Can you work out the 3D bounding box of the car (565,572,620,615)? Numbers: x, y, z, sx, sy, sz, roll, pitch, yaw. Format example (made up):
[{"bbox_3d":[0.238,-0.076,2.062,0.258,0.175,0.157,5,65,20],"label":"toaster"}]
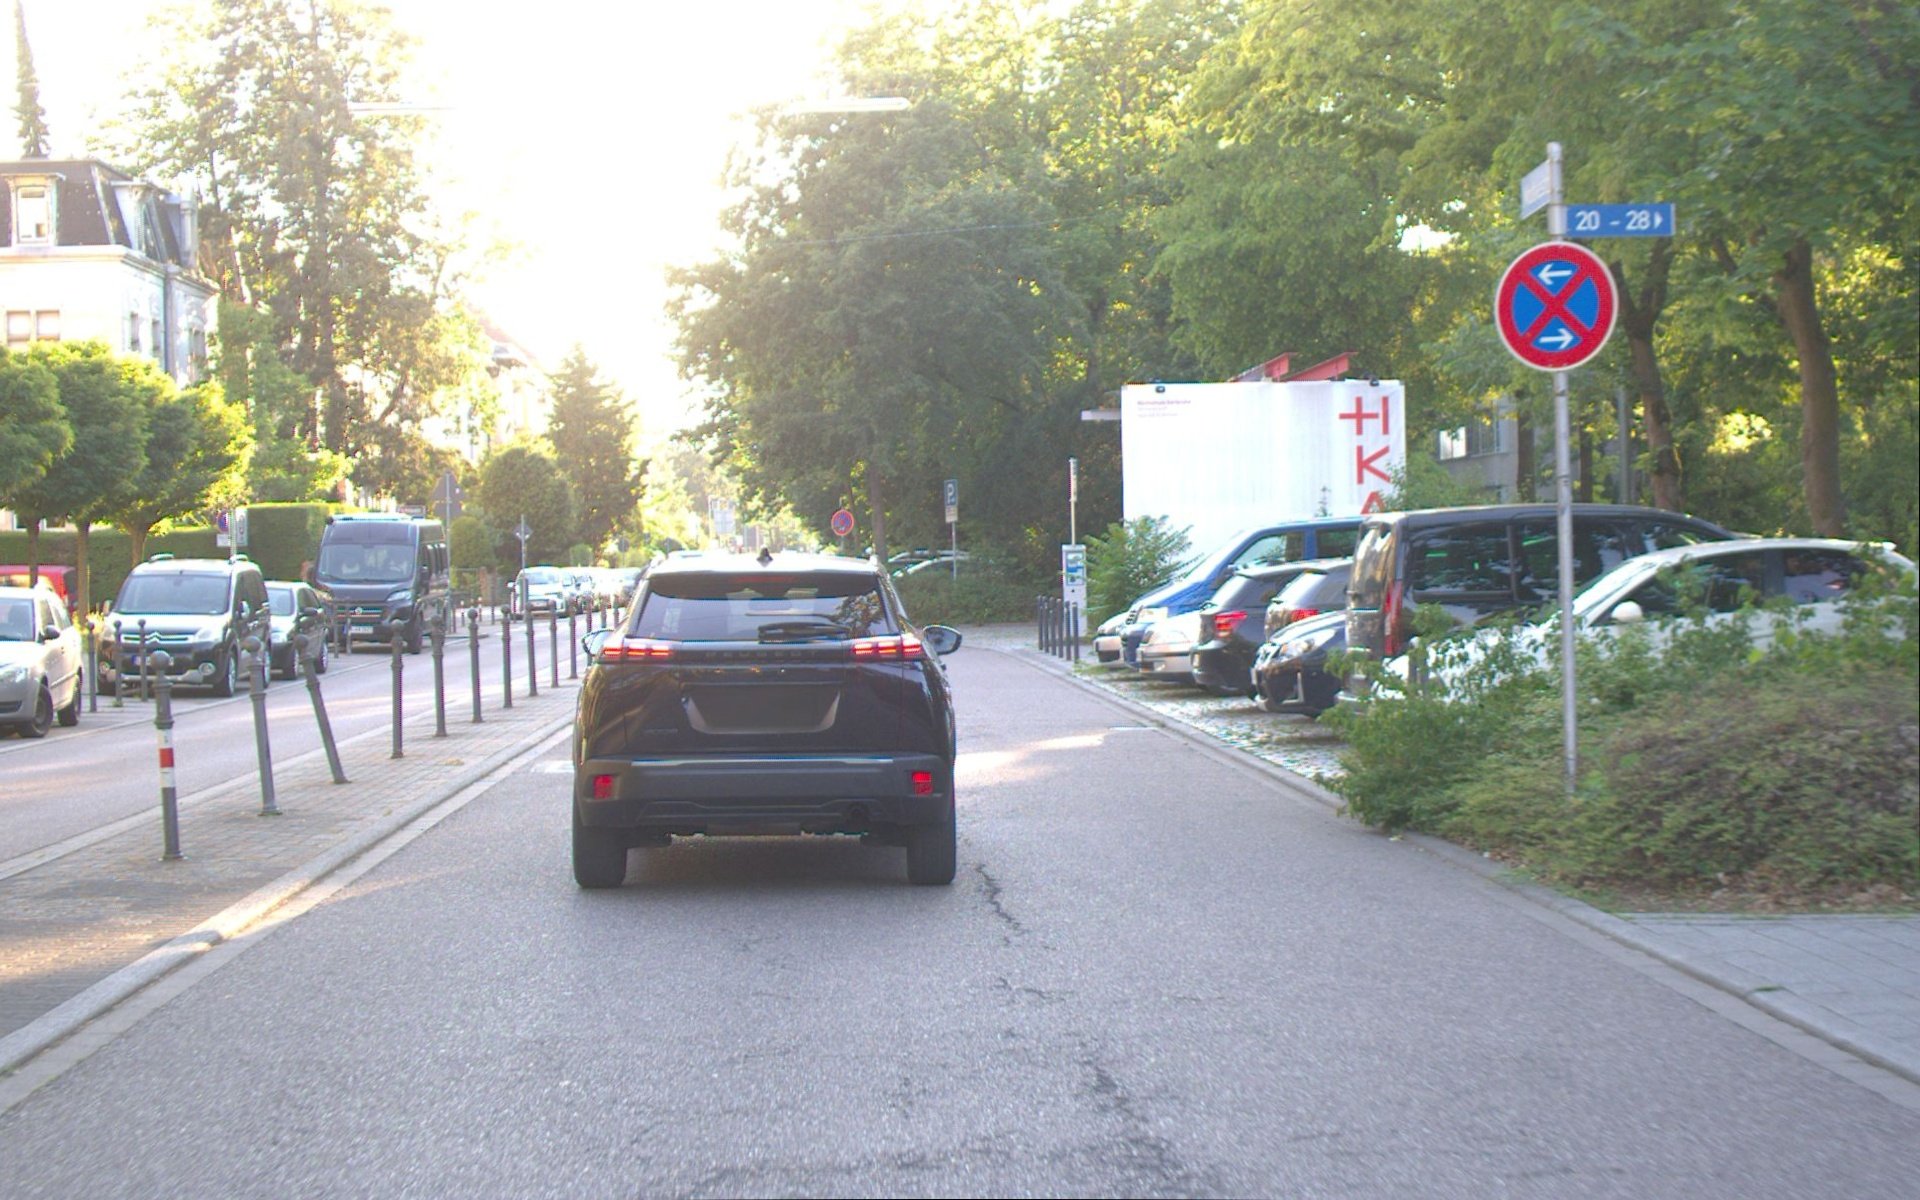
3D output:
[{"bbox_3d":[-13.084,-0.250,122.657,1.613,1.461,4.036,-1,0,-2],"label":"car"}]

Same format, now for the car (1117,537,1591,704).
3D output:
[{"bbox_3d":[4.323,0.209,38.274,4.926,1.548,1.916,-3,1,-3],"label":"car"}]

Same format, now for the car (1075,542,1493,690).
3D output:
[{"bbox_3d":[4.010,0.185,43.133,4.926,1.548,1.916,-3,1,-3],"label":"car"}]

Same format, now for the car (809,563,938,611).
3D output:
[{"bbox_3d":[-2.965,-0.445,116.931,4.242,1.444,2.022,-2,0,-4],"label":"car"}]

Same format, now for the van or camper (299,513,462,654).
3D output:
[{"bbox_3d":[-11.001,-0.322,65.765,2.229,2.536,7.080,0,0,-3],"label":"van or camper"}]

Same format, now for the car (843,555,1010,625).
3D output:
[{"bbox_3d":[-0.845,-0.249,83.840,3.986,1.549,1.726,-1,2,-2],"label":"car"}]

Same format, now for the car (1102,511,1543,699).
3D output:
[{"bbox_3d":[4.221,0.047,40.590,4.852,1.909,1.916,-3,1,-3],"label":"car"}]

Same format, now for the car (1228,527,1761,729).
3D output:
[{"bbox_3d":[4.738,0.234,30.912,4.362,1.532,1.921,-3,1,-3],"label":"car"}]

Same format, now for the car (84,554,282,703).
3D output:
[{"bbox_3d":[-10.388,0.338,46.256,1.777,1.859,4.333,1,1,-2],"label":"car"}]

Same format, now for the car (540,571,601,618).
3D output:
[{"bbox_3d":[-12.623,-0.192,111.582,1.613,1.461,4.036,-1,0,-2],"label":"car"}]

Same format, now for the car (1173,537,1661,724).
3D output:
[{"bbox_3d":[4.384,0.275,33.436,4.362,1.532,1.921,-3,1,-3],"label":"car"}]

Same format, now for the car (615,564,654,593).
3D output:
[{"bbox_3d":[-17.822,-1.163,188.444,1.899,1.568,4.000,-1,0,-3],"label":"car"}]

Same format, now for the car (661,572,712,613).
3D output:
[{"bbox_3d":[-10.199,-0.297,128.422,1.741,1.453,4.624,-2,0,-3],"label":"car"}]

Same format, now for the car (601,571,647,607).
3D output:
[{"bbox_3d":[-14.033,-0.465,143.639,1.752,1.409,3.765,-3,1,-4],"label":"car"}]

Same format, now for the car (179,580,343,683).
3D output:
[{"bbox_3d":[-10.538,0.447,52.072,1.696,1.465,3.854,1,0,-1],"label":"car"}]

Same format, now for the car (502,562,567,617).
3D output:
[{"bbox_3d":[-12.489,-0.314,101.005,1.613,1.510,3.712,-3,0,-4],"label":"car"}]

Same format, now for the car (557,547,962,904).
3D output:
[{"bbox_3d":[-0.955,0.519,17.159,1.771,1.563,4.109,0,1,-2],"label":"car"}]

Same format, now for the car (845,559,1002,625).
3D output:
[{"bbox_3d":[-0.957,-0.213,88.942,3.986,1.549,1.752,-1,2,-2],"label":"car"}]

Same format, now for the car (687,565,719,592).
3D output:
[{"bbox_3d":[-16.973,-1.423,227.383,1.993,1.809,4.000,-1,0,-3],"label":"car"}]

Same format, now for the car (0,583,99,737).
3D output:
[{"bbox_3d":[-10.130,0.584,35.873,1.718,1.491,4.378,-1,1,-8],"label":"car"}]

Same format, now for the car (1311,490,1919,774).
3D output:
[{"bbox_3d":[4.903,0.201,24.974,4.362,1.774,1.921,-3,1,-3],"label":"car"}]

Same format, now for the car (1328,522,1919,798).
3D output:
[{"bbox_3d":[4.761,0.351,22.661,4.362,1.548,1.727,-3,1,-3],"label":"car"}]

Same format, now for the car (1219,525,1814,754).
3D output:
[{"bbox_3d":[4.413,0.293,27.700,4.362,1.548,1.876,-3,1,-3],"label":"car"}]

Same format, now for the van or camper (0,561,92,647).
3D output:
[{"bbox_3d":[-24.797,0.114,87.594,4.768,1.979,2.001,-1,5,0],"label":"van or camper"}]

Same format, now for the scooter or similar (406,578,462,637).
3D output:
[{"bbox_3d":[-11.615,0.156,75.932,0.431,1.270,1.341,-1,0,33],"label":"scooter or similar"}]
